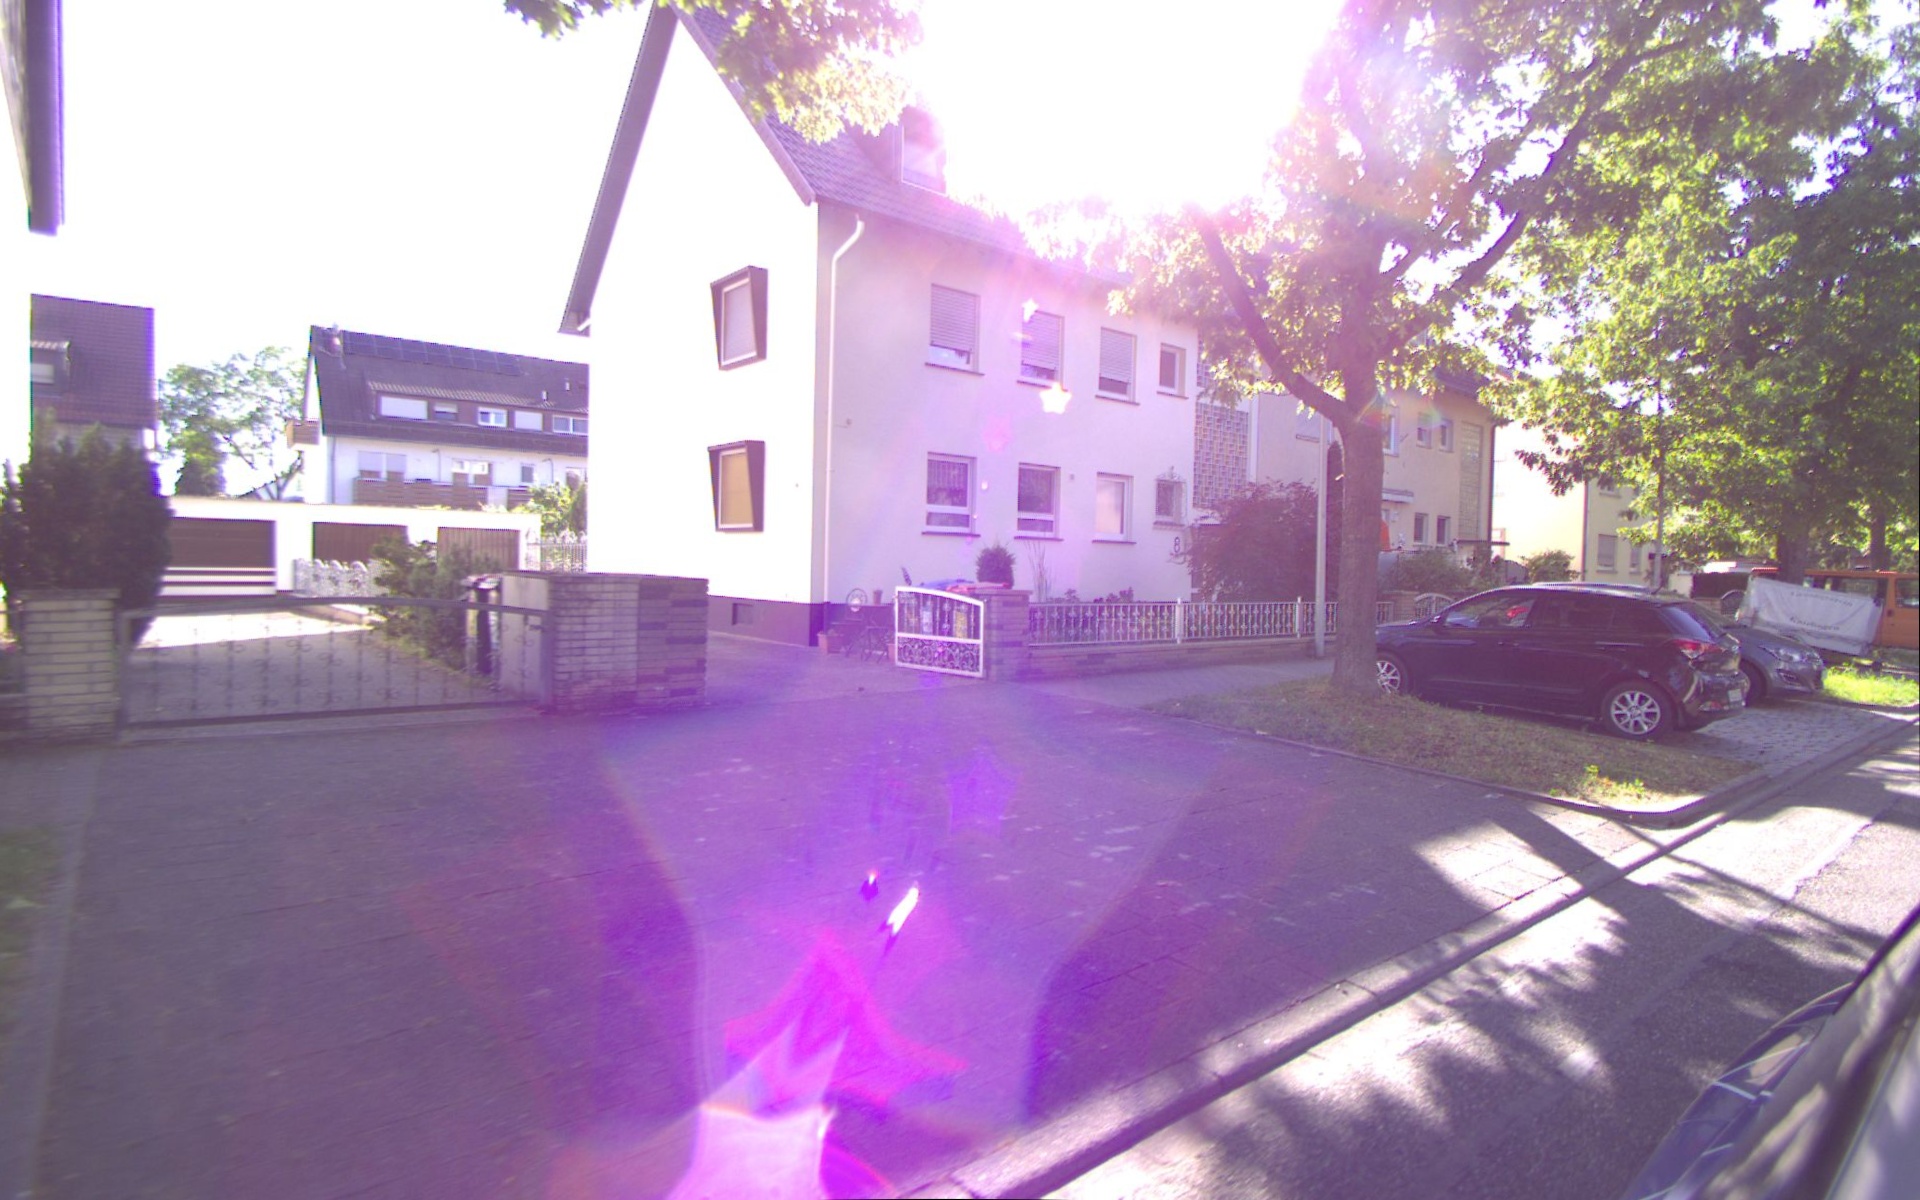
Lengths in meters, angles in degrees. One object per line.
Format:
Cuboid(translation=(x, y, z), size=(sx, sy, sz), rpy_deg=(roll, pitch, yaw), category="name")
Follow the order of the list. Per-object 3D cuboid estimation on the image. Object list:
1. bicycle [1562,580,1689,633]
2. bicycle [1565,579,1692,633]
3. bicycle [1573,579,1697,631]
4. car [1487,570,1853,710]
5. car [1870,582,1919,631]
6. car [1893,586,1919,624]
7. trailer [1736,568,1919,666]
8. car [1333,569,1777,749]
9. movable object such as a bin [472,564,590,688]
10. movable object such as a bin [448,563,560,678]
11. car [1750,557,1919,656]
Cuboid(translation=(18.141, 0.154, 27.683), size=(0.459, 1.252, 2.867), rpy_deg=(0, 4, -38), category="bicycle")
Cuboid(translation=(18.470, 0.135, 28.055), size=(0.459, 1.252, 2.868), rpy_deg=(-1, 5, -38), category="bicycle")
Cuboid(translation=(18.846, 0.117, 28.350), size=(0.459, 1.252, 2.867), rpy_deg=(-1, 4, -38), category="bicycle")
Cuboid(translation=(10.054, 0.430, 14.569), size=(1.727, 1.643, 3.994), rpy_deg=(-1, 3, -41), category="car")
Cuboid(translation=(33.206, 0.295, 33.476), size=(1.834, 1.579, 4.350), rpy_deg=(0, 4, -39), category="car")
Cuboid(translation=(37.165, 0.319, 36.823), size=(1.659, 1.347, 4.444), rpy_deg=(0, 4, -36), category="car")
Cuboid(translation=(17.686, 0.273, 20.430), size=(1.589, 1.684, 2.949), rpy_deg=(-2, 5, -44), category="trailer")
Cuboid(translation=(6.365, 0.487, 11.211), size=(1.631, 1.534, 3.893), rpy_deg=(0, 3, -38), category="car")
Cuboid(translation=(-4.173, 0.222, 9.850), size=(0.890, 1.125, 0.704), rpy_deg=(-1, 3, -41), category="movable object such as a bin")
Cuboid(translation=(-4.684, 0.182, 10.407), size=(0.890, 1.112, 0.704), rpy_deg=(-1, 3, -41), category="movable object such as a bin")
Cuboid(translation=(21.383, 0.140, 23.133), size=(2.048, 2.109, 4.832), rpy_deg=(0, 3, -38), category="car")
